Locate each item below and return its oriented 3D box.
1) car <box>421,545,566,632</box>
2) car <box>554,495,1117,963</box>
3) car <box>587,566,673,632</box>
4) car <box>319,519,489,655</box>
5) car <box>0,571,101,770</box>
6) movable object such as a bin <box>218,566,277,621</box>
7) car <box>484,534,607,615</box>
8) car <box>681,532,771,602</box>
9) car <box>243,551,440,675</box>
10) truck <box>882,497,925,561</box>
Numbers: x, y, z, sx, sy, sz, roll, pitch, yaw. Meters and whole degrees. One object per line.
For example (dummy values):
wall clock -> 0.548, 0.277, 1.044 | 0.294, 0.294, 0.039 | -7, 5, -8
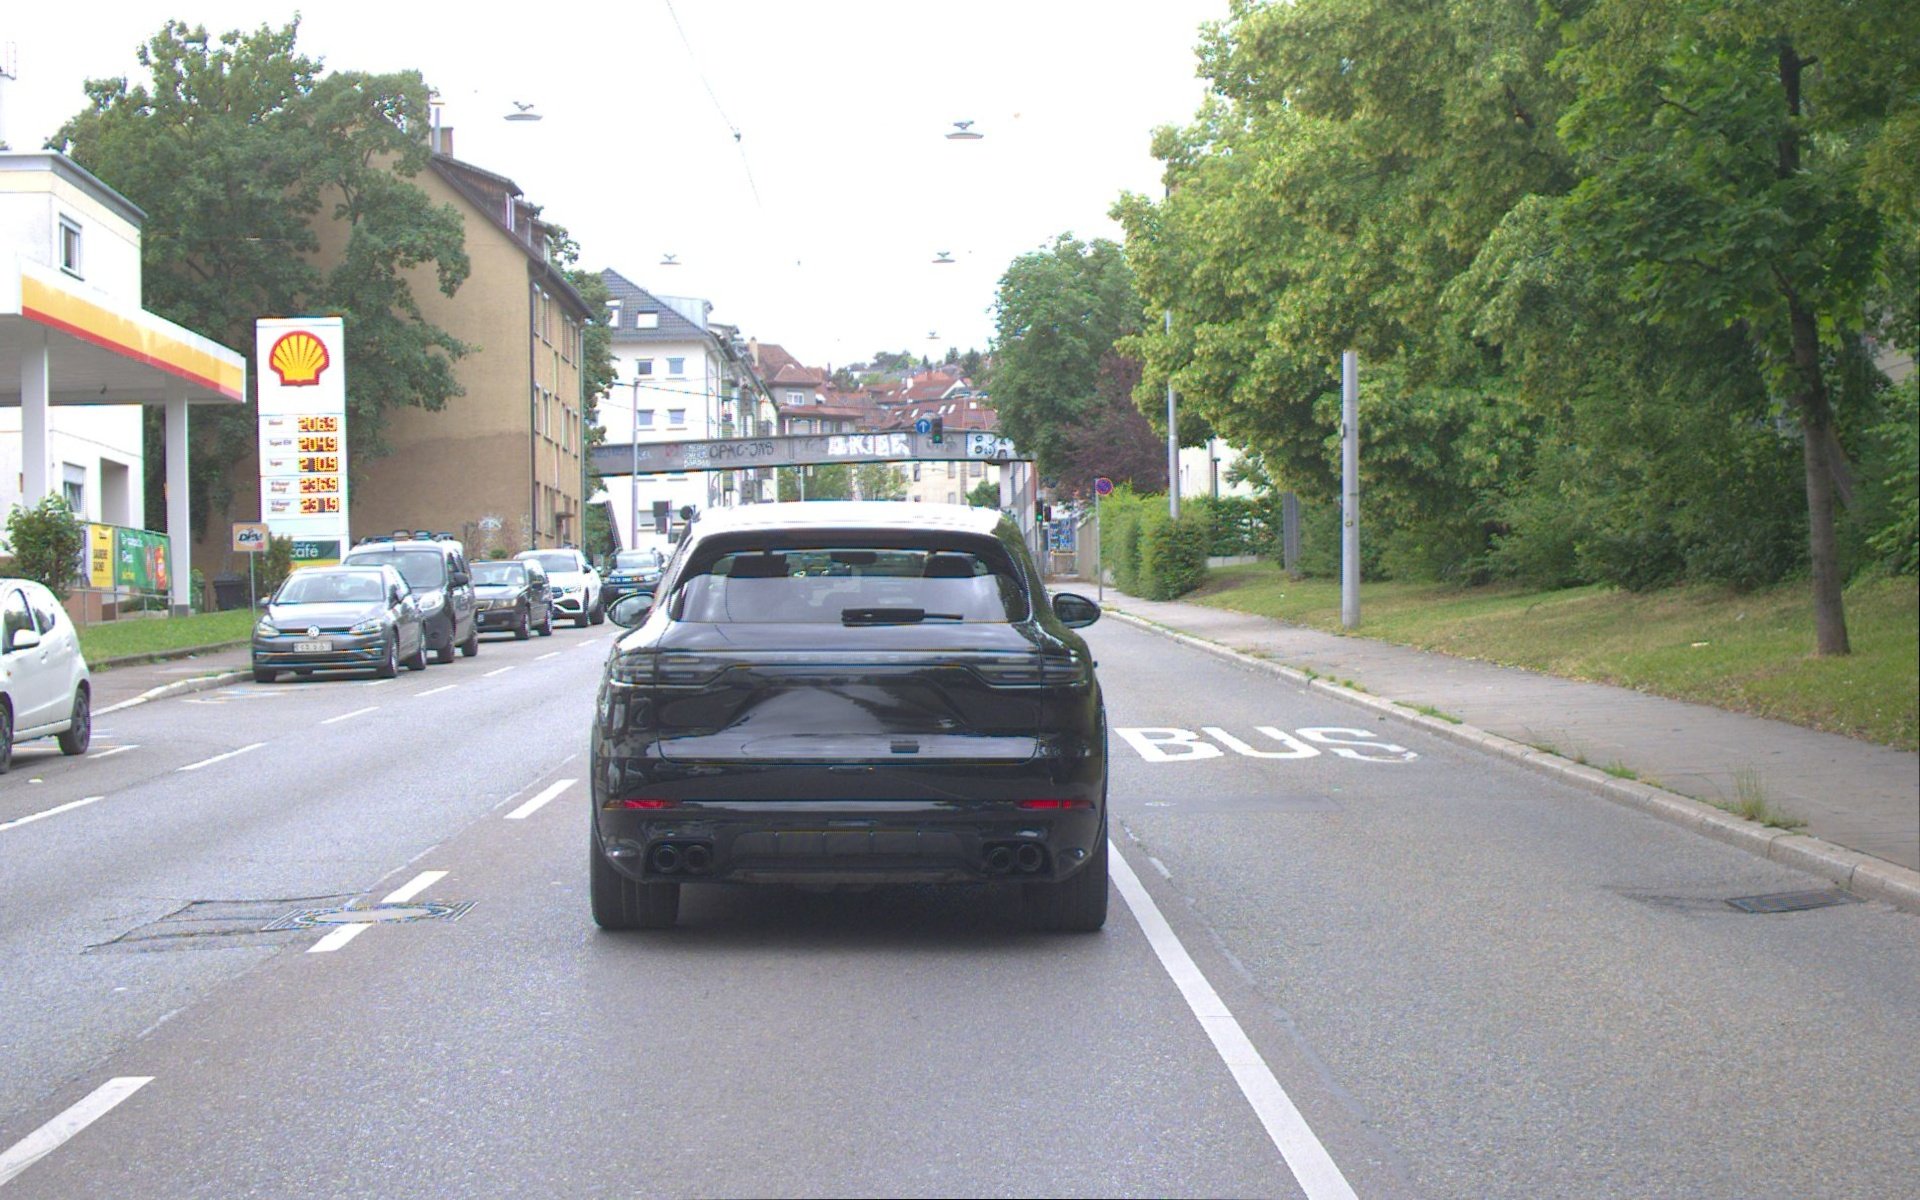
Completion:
car -> -8.332, -0.232, 61.775 | 1.798, 1.426, 4.743 | -2, 1, 1
car -> -0.456, 0.407, 14.238 | 1.993, 1.656, 4.000 | 0, 1, 0
car -> -8.847, -0.053, 92.540 | 1.783, 1.603, 4.264 | -3, 1, 1
car -> -8.105, -0.221, 50.511 | 1.851, 1.829, 4.702 | -2, 1, -2
car -> -7.891, 0.532, 26.460 | 1.619, 1.420, 3.665 | -2, 1, 0
movable object such as a bin -> -18.700, -0.163, 90.248 | 1.392, 1.423, 0.913 | 0, 1, -3
car -> -8.504, -0.545, 70.860 | 1.915, 1.572, 4.700 | -2, 1, 0
car -> -5.391, -0.785, 79.574 | 1.797, 1.520, 4.000 | -2, 1, -1
car -> -7.949, 0.130, 44.526 | 1.790, 1.445, 4.218 | -2, 1, -1
truck -> -3.130, -3.911, 191.288 | 2.266, 3.412, 9.879 | -1, 1, -1
